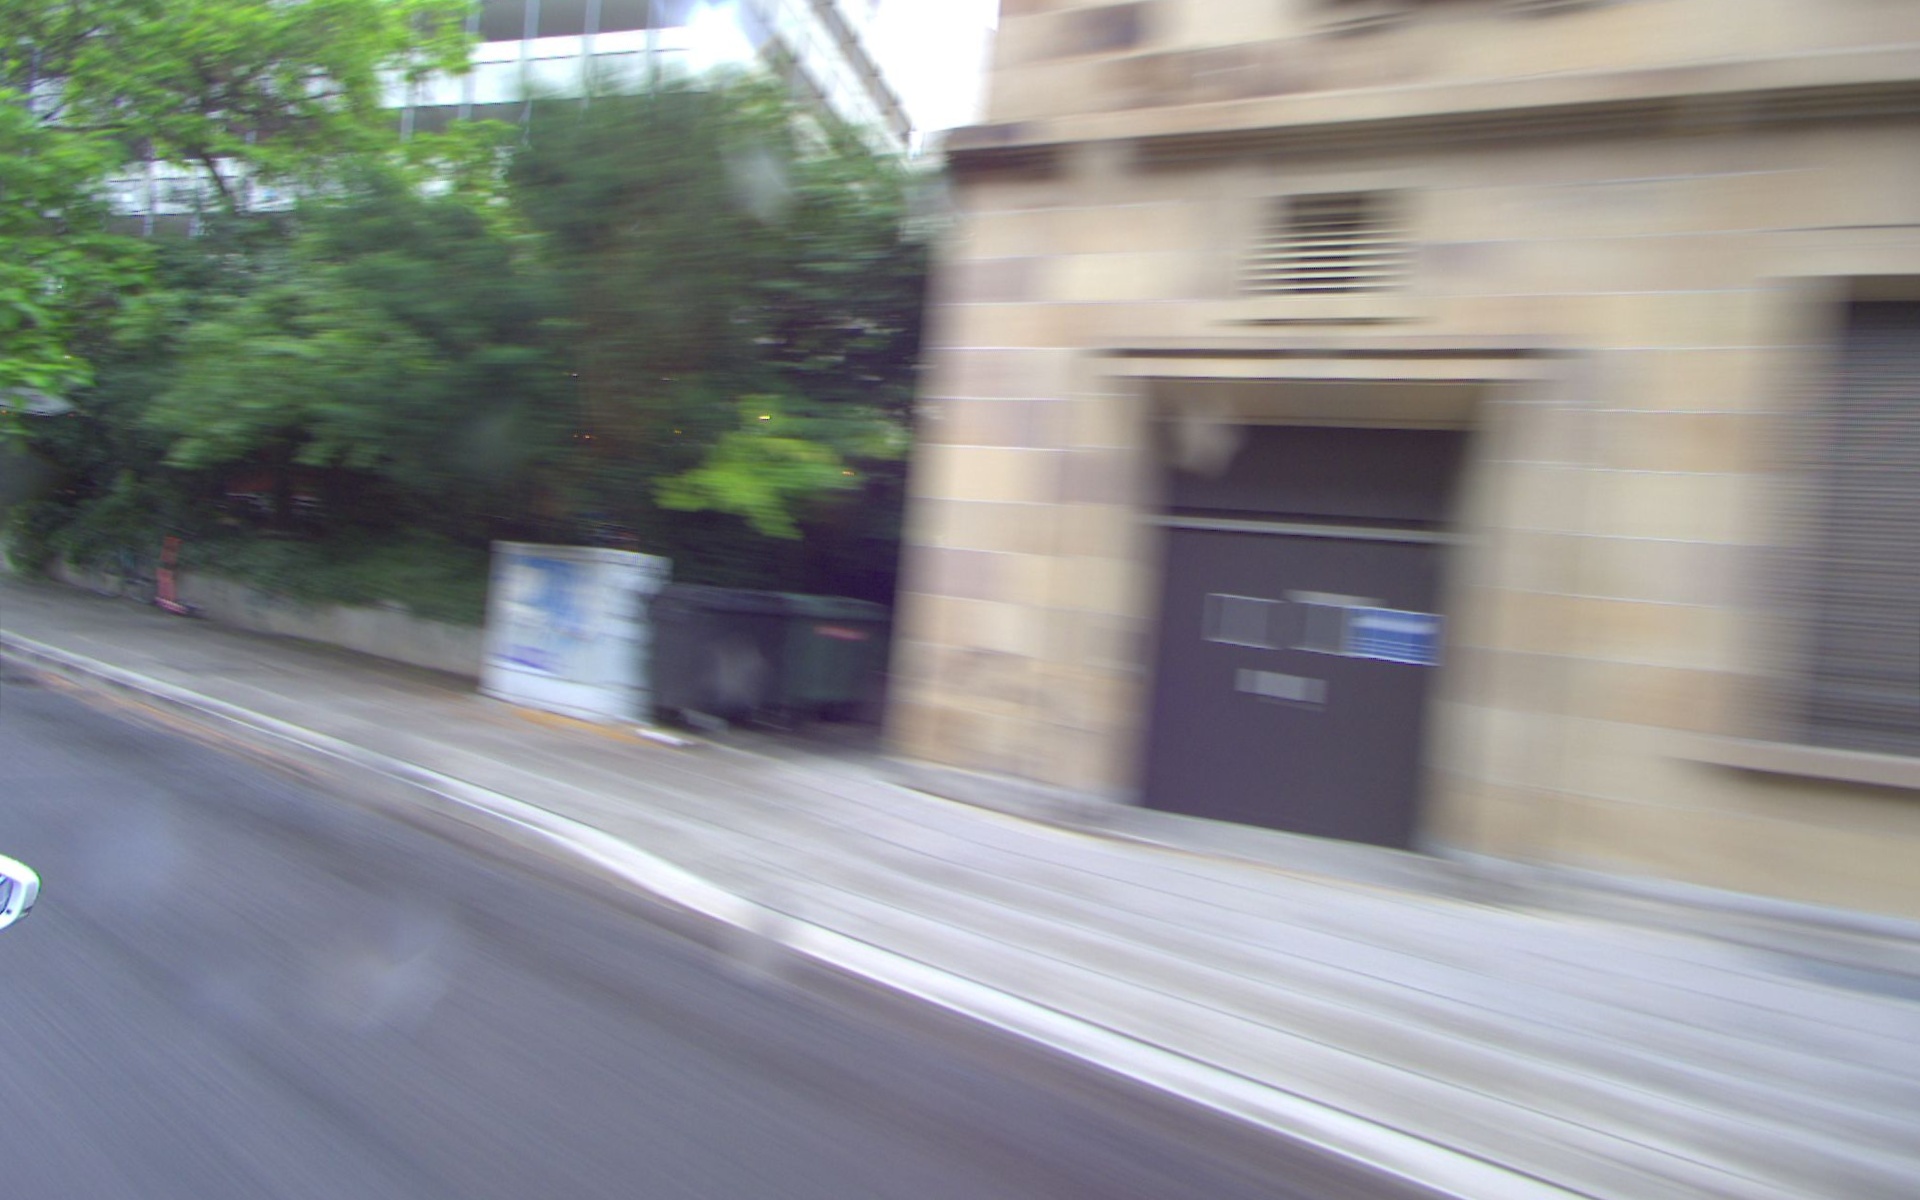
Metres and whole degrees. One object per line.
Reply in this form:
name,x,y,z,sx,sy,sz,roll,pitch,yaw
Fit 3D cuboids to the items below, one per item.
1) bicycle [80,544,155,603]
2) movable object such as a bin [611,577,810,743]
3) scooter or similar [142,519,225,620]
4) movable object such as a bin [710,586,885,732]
bicycle,-12.829,-0.413,15.313,1.191,0.764,0.500,7,2,31
movable object such as a bin,-2.329,0.530,9.474,1.213,1.327,1.239,7,2,32
scooter or similar,-10.813,-0.427,14.000,1.191,1.276,0.447,7,3,31
movable object such as a bin,-1.693,0.590,10.597,1.213,1.327,1.239,7,2,32
